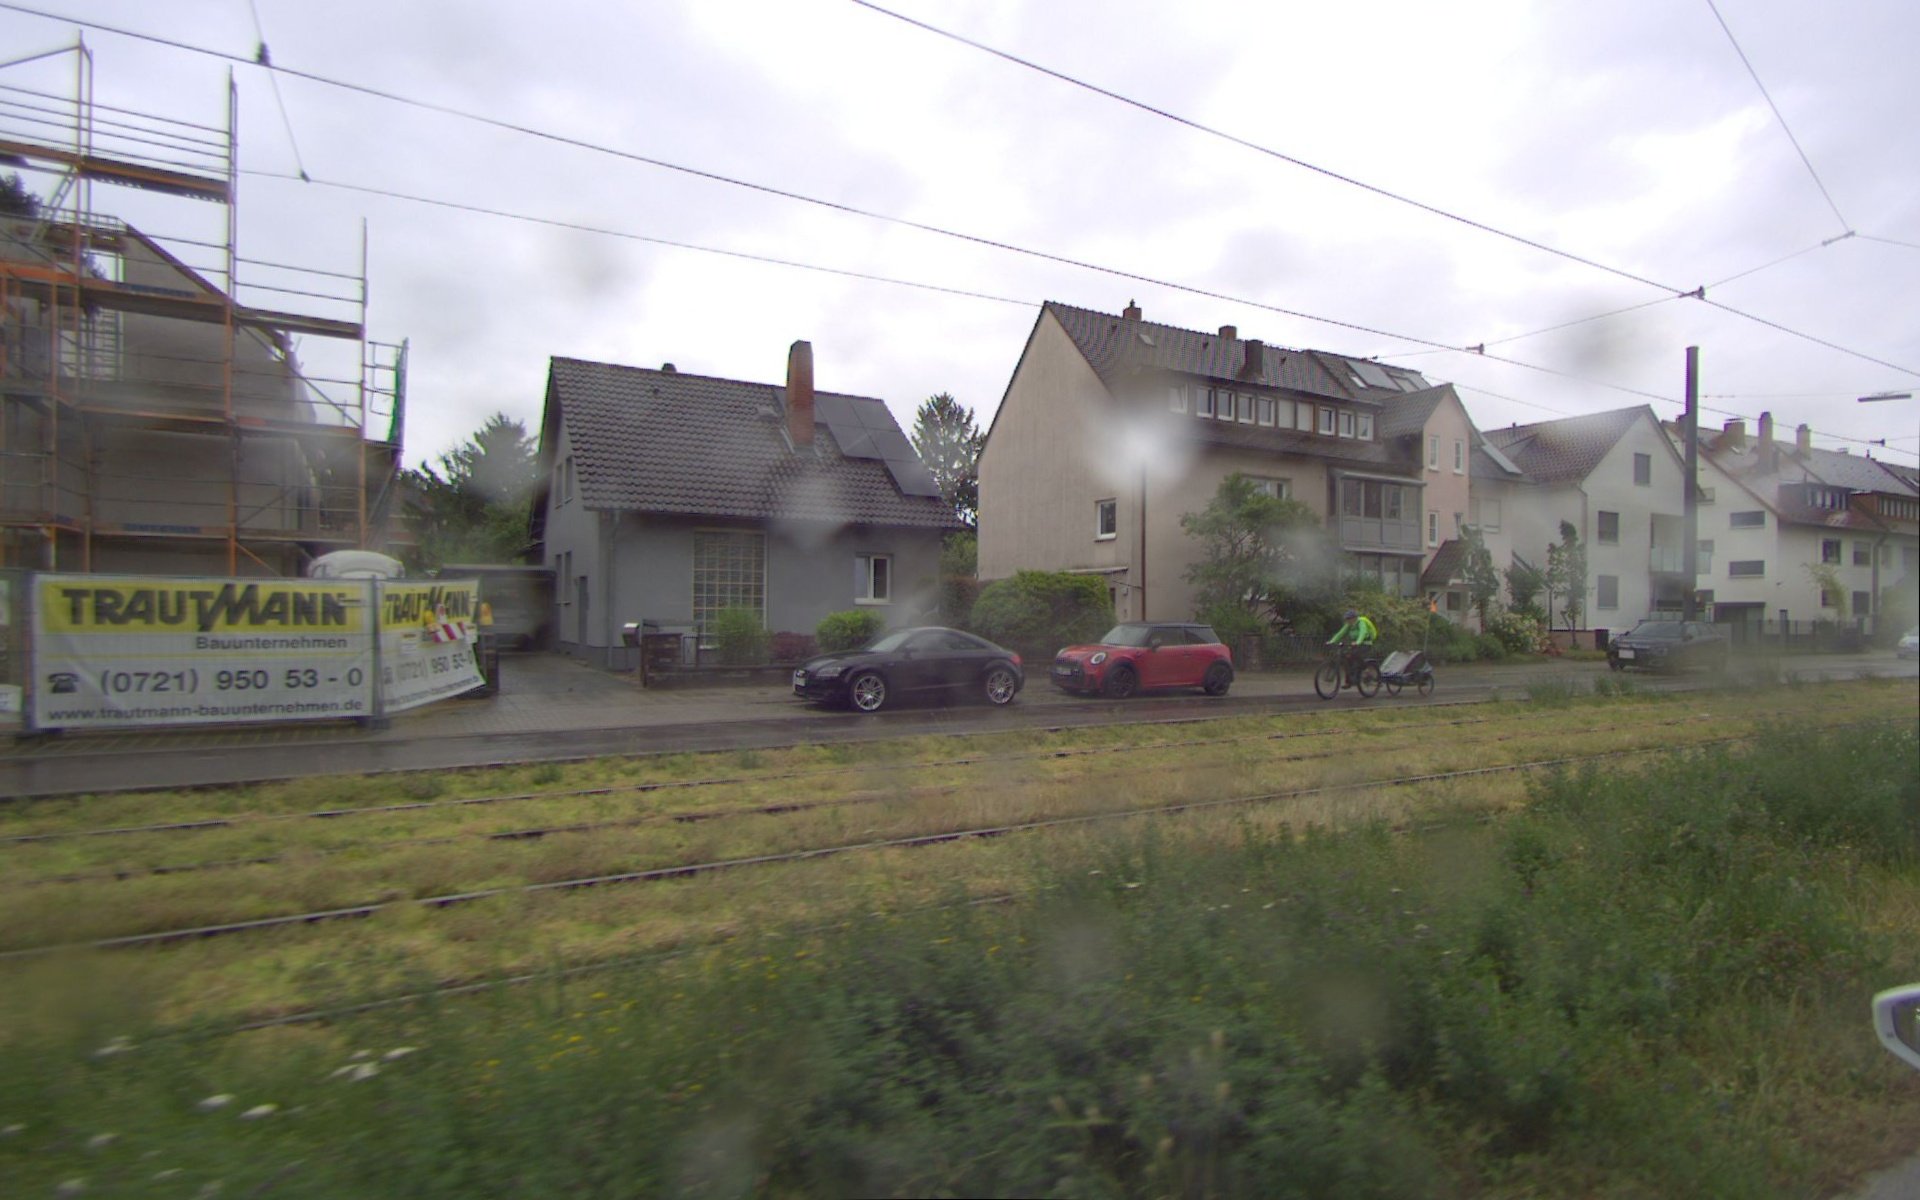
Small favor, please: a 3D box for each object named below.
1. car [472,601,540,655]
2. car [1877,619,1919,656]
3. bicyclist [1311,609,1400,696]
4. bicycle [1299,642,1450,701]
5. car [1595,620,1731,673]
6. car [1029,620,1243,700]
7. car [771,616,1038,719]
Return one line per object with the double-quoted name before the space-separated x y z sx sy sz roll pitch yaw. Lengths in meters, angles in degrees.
"car" -14.007 0.816 30.896 1.771 1.506 3.974 2 0 -26
"car" 39.784 1.560 41.390 3.616 1.432 1.983 2 0 -31
"bicyclist" 7.732 1.010 19.631 1.384 1.605 0.949 2 0 -30
"bicycle" 8.257 1.392 19.934 3.395 1.057 0.930 2 0 -31
"car" 21.161 1.395 30.217 4.126 1.446 1.827 2 0 -31
"car" 3.502 1.148 19.929 3.799 1.391 1.983 2 0 -31
"car" -0.916 1.056 17.117 4.126 1.428 1.983 -1 1 -31
